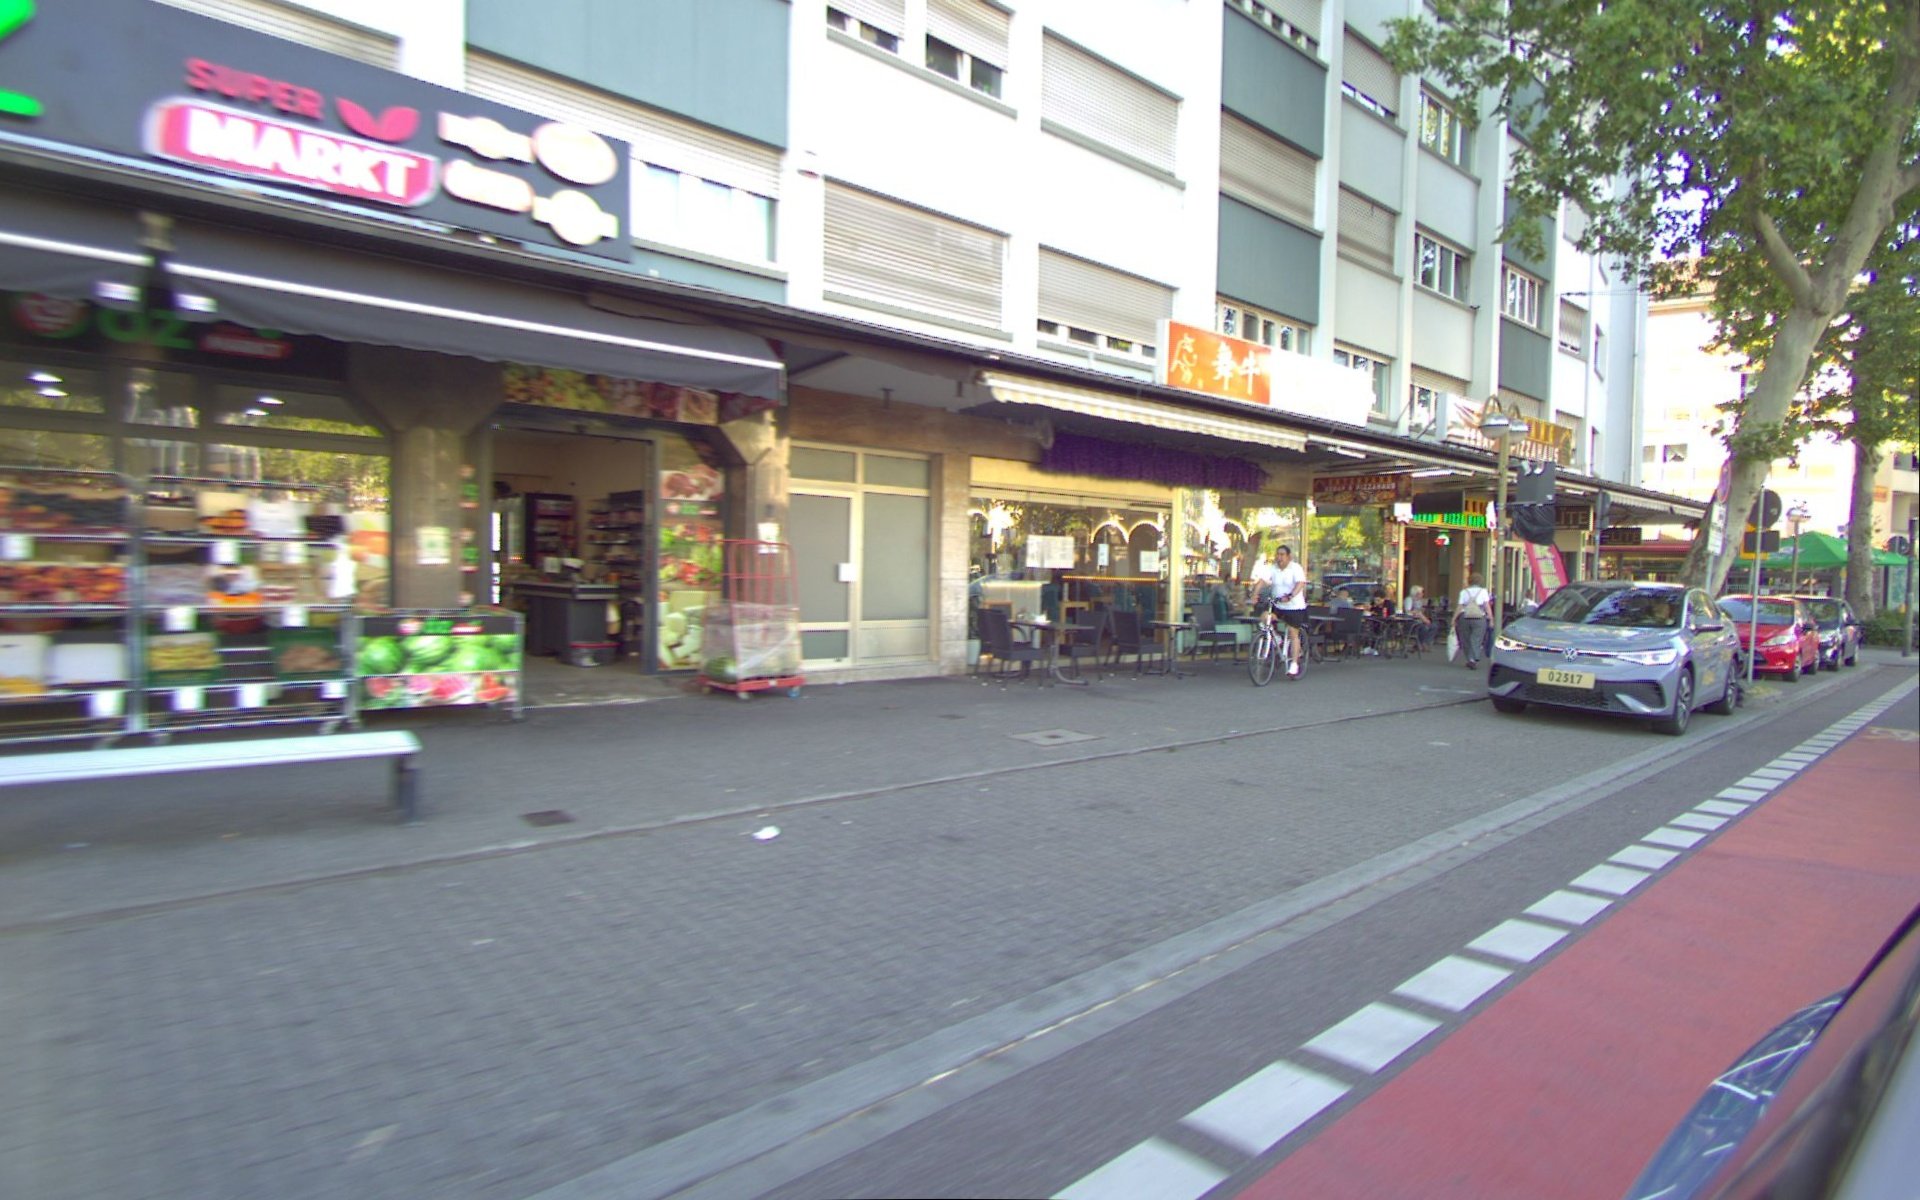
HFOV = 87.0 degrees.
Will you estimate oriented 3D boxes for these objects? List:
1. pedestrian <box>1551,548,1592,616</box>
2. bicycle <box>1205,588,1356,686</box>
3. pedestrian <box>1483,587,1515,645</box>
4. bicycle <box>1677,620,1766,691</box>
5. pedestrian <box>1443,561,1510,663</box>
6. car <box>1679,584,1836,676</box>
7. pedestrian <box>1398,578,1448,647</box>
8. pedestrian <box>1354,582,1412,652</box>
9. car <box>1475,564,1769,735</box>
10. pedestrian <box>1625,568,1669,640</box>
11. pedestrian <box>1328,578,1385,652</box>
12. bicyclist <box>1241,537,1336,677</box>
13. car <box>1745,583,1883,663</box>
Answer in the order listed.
[{"bbox_3d":[15.977,-0.474,26.451,0.666,1.730,0.709,0,2,-41],"label":"pedestrian"},{"bbox_3d":[4.203,0.438,13.178,2.228,1.117,0.778,0,4,-41],"label":"bicycle"},{"bbox_3d":[10.968,0.318,20.618,0.514,1.148,0.504,3,2,28],"label":"pedestrian"},{"bbox_3d":[11.329,0.794,15.024,2.004,0.895,0.625,0,4,-42],"label":"bicycle"},{"bbox_3d":[8.472,0.178,16.607,0.666,1.605,0.709,0,3,-42],"label":"pedestrian"},{"bbox_3d":[14.881,0.475,18.819,3.918,1.460,1.732,0,3,-44],"label":"car"},{"bbox_3d":[8.972,0.225,19.631,0.596,1.281,0.646,0,3,-41],"label":"pedestrian"},{"bbox_3d":[7.630,0.292,18.259,0.698,1.191,0.677,0,3,-41],"label":"pedestrian"},{"bbox_3d":[8.129,0.450,12.229,4.712,1.617,1.920,0,3,-44],"label":"car"},{"bbox_3d":[15.535,0.078,22.885,0.630,1.579,0.584,0,4,-39],"label":"pedestrian"},{"bbox_3d":[6.917,0.253,17.656,0.698,1.243,0.677,0,2,-43],"label":"pedestrian"},{"bbox_3d":[4.282,0.067,13.195,0.815,1.729,0.771,0,4,-41],"label":"bicyclist"},{"bbox_3d":[18.252,0.436,21.579,3.735,1.497,1.659,0,3,-41],"label":"car"}]
